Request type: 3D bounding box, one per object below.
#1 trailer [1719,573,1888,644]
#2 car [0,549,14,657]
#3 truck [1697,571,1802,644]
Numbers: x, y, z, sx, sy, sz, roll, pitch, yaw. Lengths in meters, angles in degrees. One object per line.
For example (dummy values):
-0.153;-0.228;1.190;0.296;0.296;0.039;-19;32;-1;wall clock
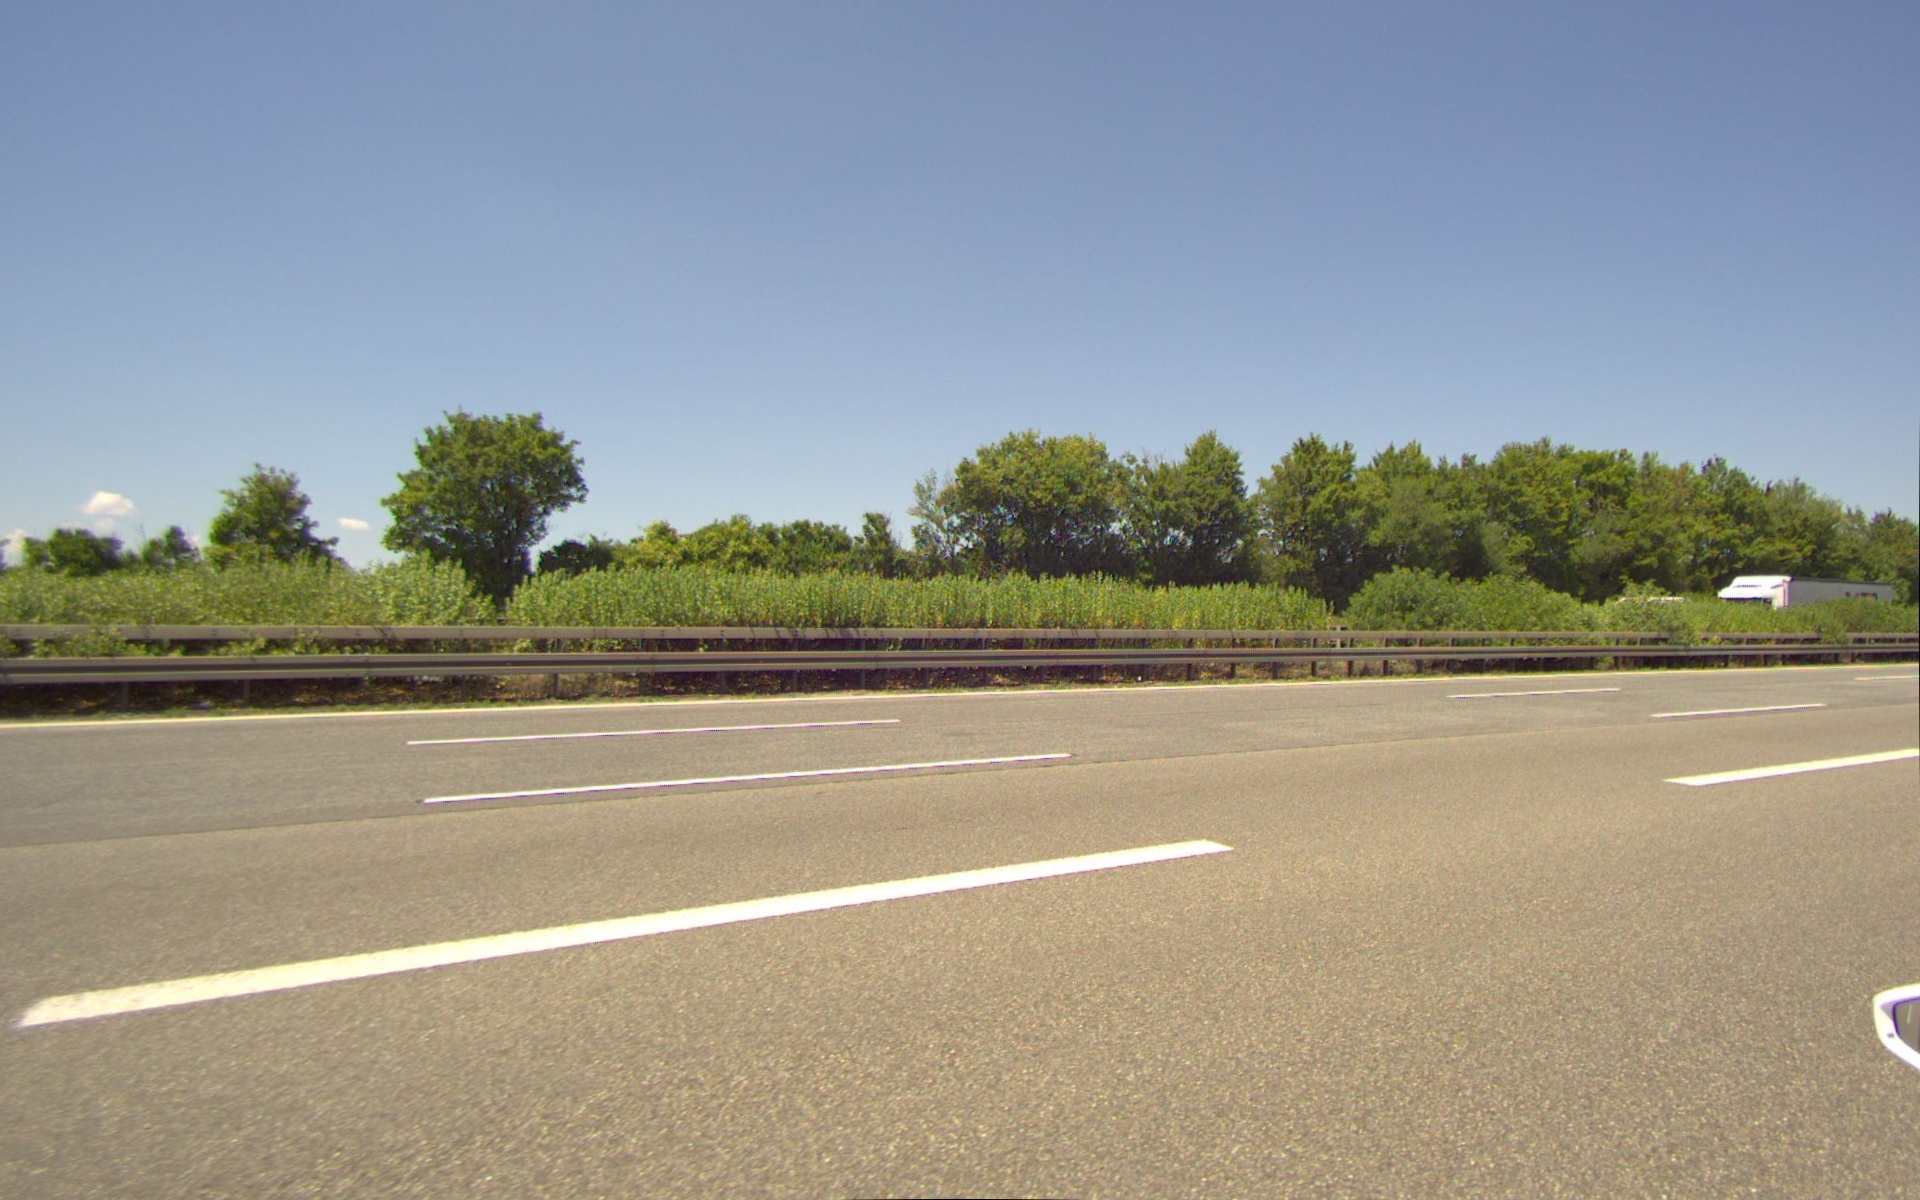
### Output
53.562;0.642;63.572;13.753;4.144;3.378;1;0;-28;trailer
-22.225;0.025;20.420;3.936;2.335;1.958;1;-1;-30;car
47.152;0.481;60.024;4.768;4.144;3.319;1;0;-28;truck
